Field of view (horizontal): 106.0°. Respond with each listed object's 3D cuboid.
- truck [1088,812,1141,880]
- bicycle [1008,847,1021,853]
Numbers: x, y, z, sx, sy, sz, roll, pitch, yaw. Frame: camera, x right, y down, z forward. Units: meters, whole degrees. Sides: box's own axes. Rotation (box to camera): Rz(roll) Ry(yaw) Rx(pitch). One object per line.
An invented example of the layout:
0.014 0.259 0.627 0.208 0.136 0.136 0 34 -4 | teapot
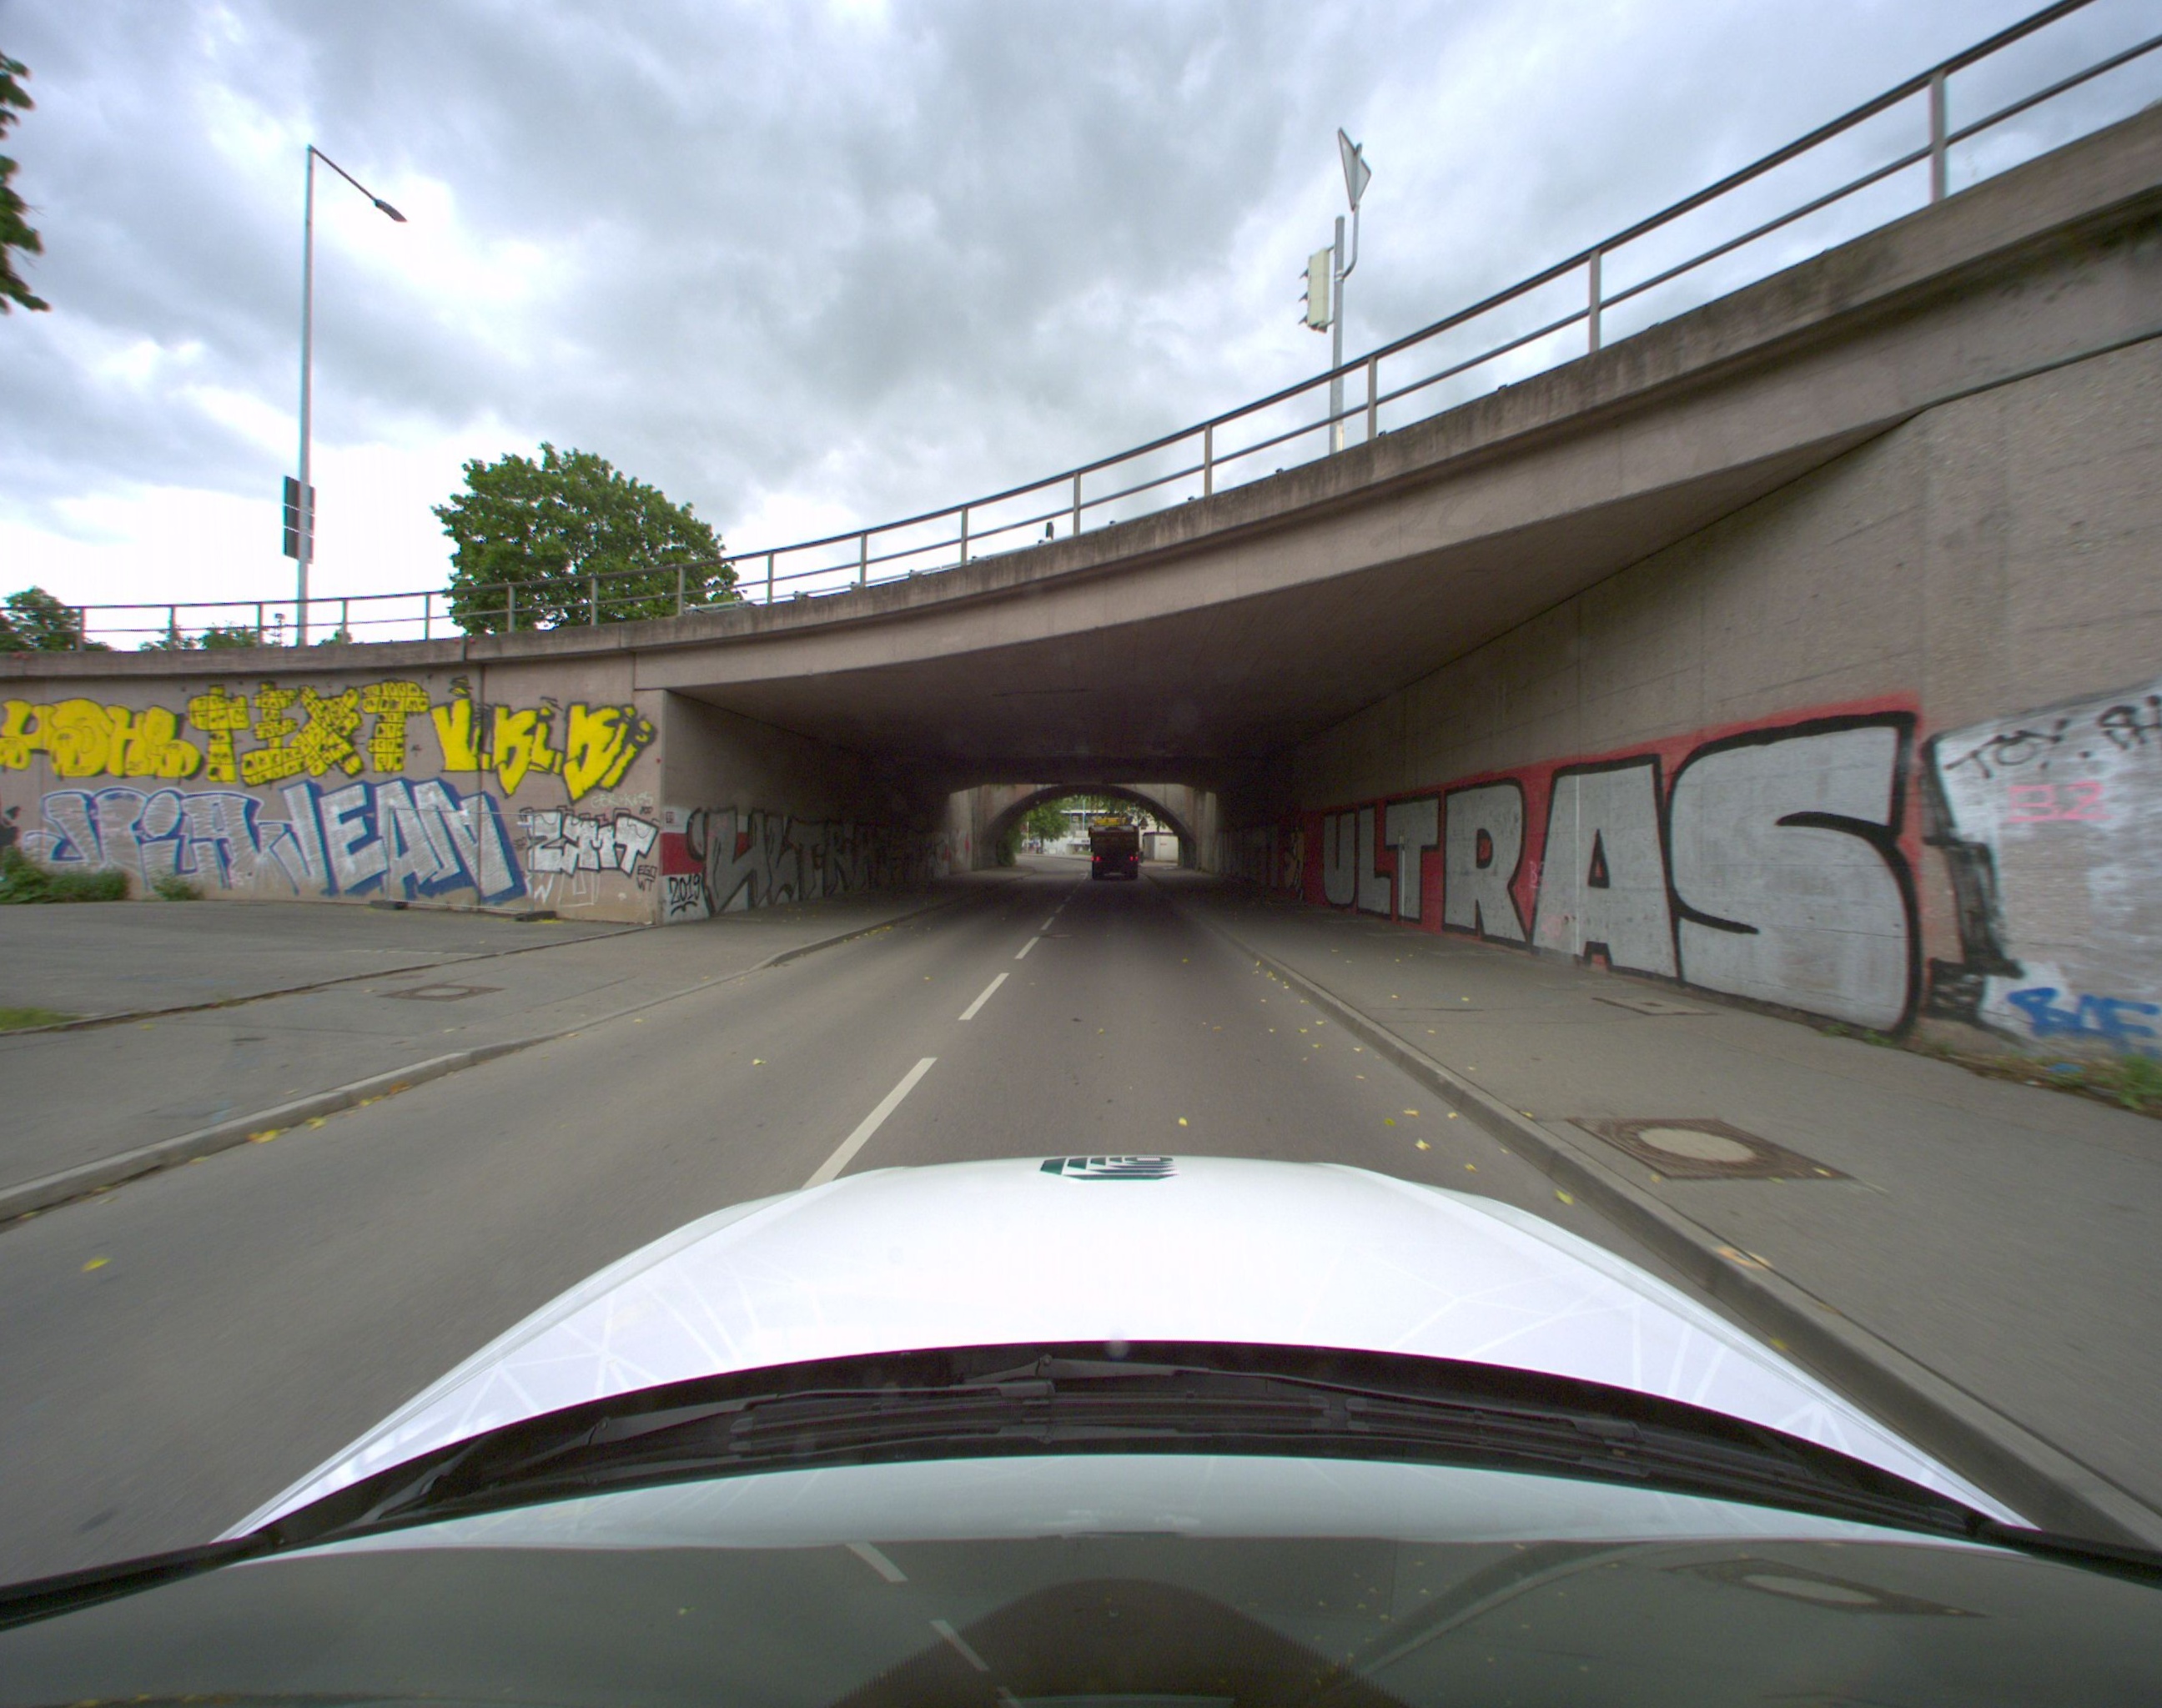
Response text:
1.949 -0.532 46.244 2.753 3.483 8.137 0 2 3 | truck
-10.386 -0.595 127.391 1.981 0.865 0.505 6 -2 -38 | bicycle
